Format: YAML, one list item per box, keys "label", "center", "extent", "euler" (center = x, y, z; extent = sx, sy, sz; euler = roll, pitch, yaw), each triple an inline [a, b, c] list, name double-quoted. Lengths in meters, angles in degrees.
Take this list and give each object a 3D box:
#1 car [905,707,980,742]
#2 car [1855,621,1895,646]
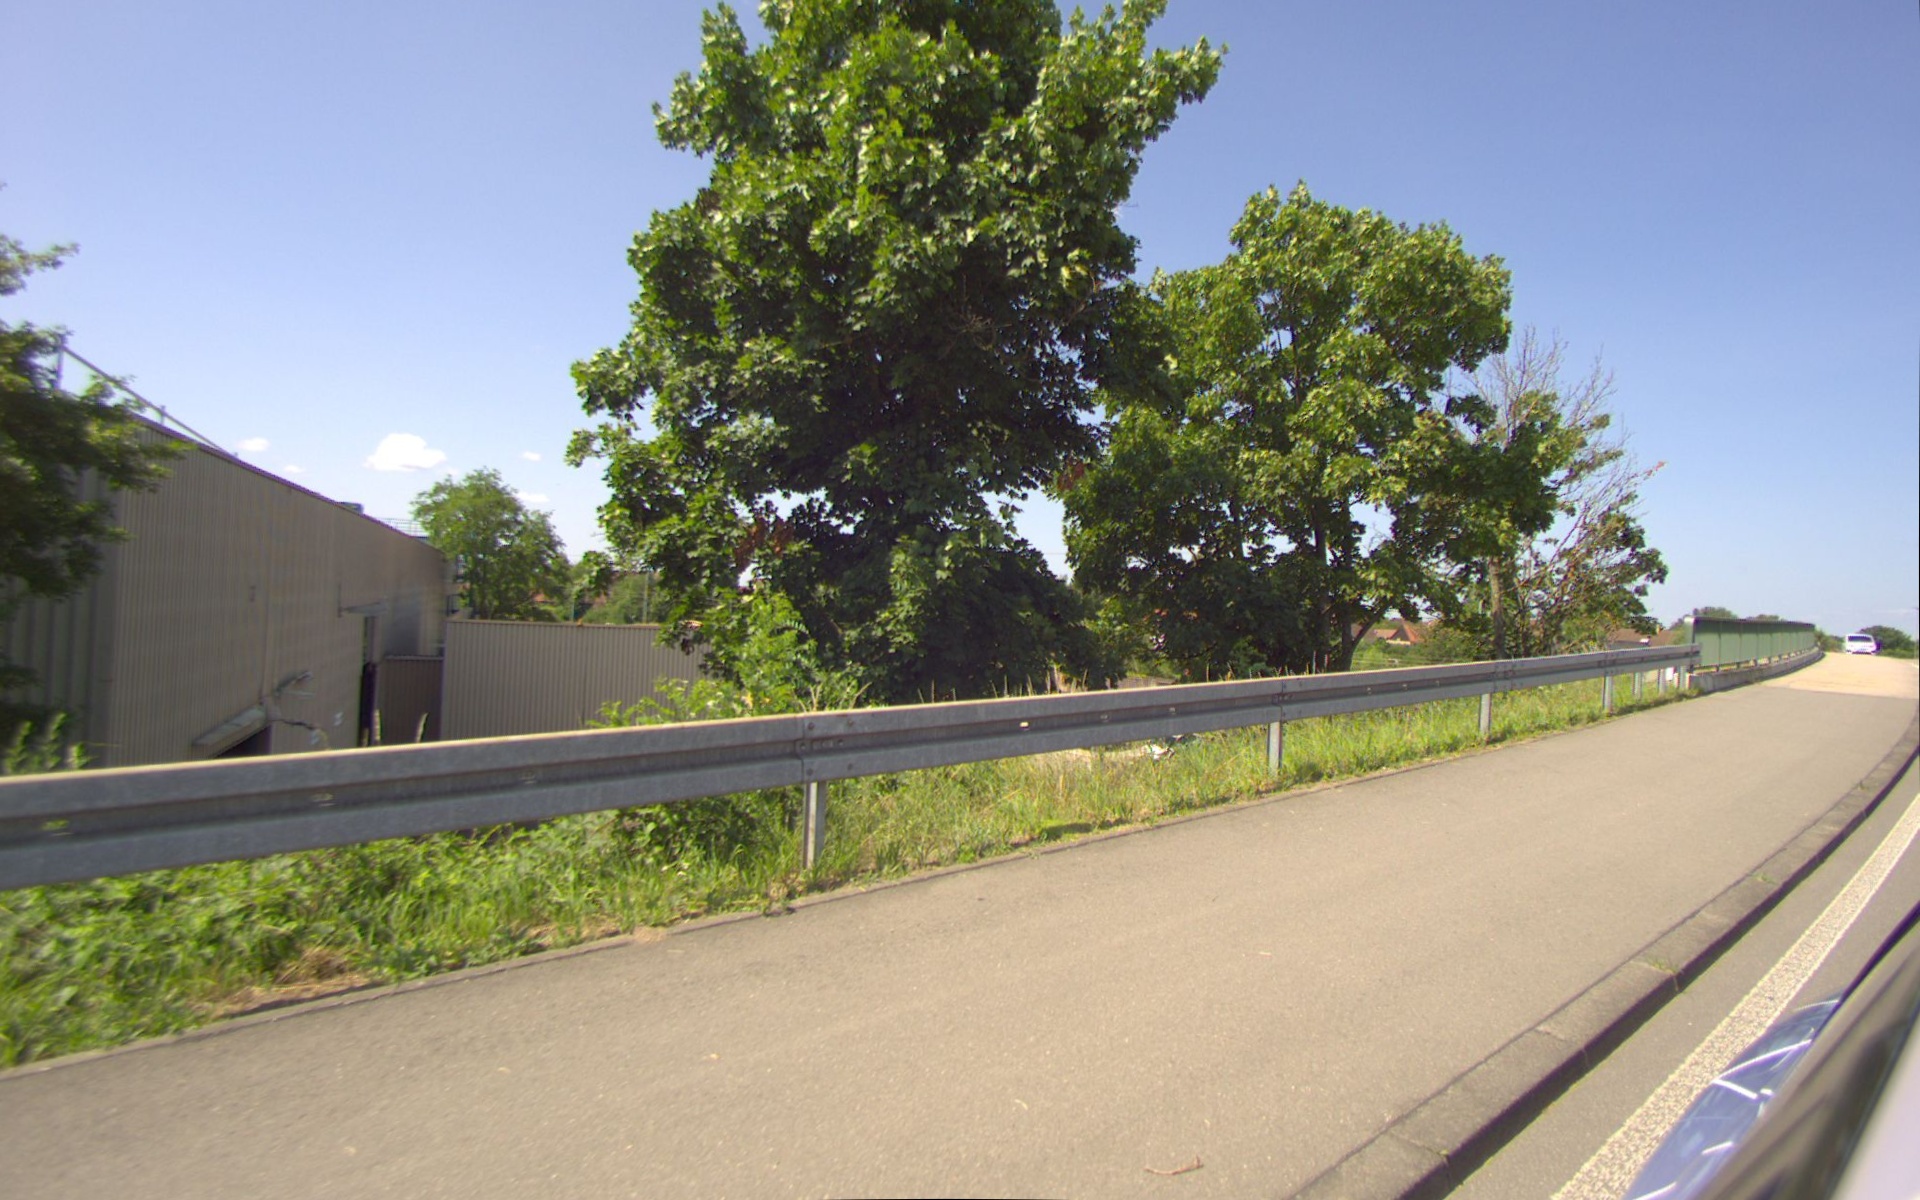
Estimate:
- label: "car"
  center: [-0.955, 7.013, 57.355]
  extent: [1.991, 1.616, 4.179]
  euler: [-3, -4, 41]
- label: "car"
  center: [69.843, 2.530, 77.295]
  extent: [2.085, 1.783, 4.219]
  euler: [0, -1, 40]
